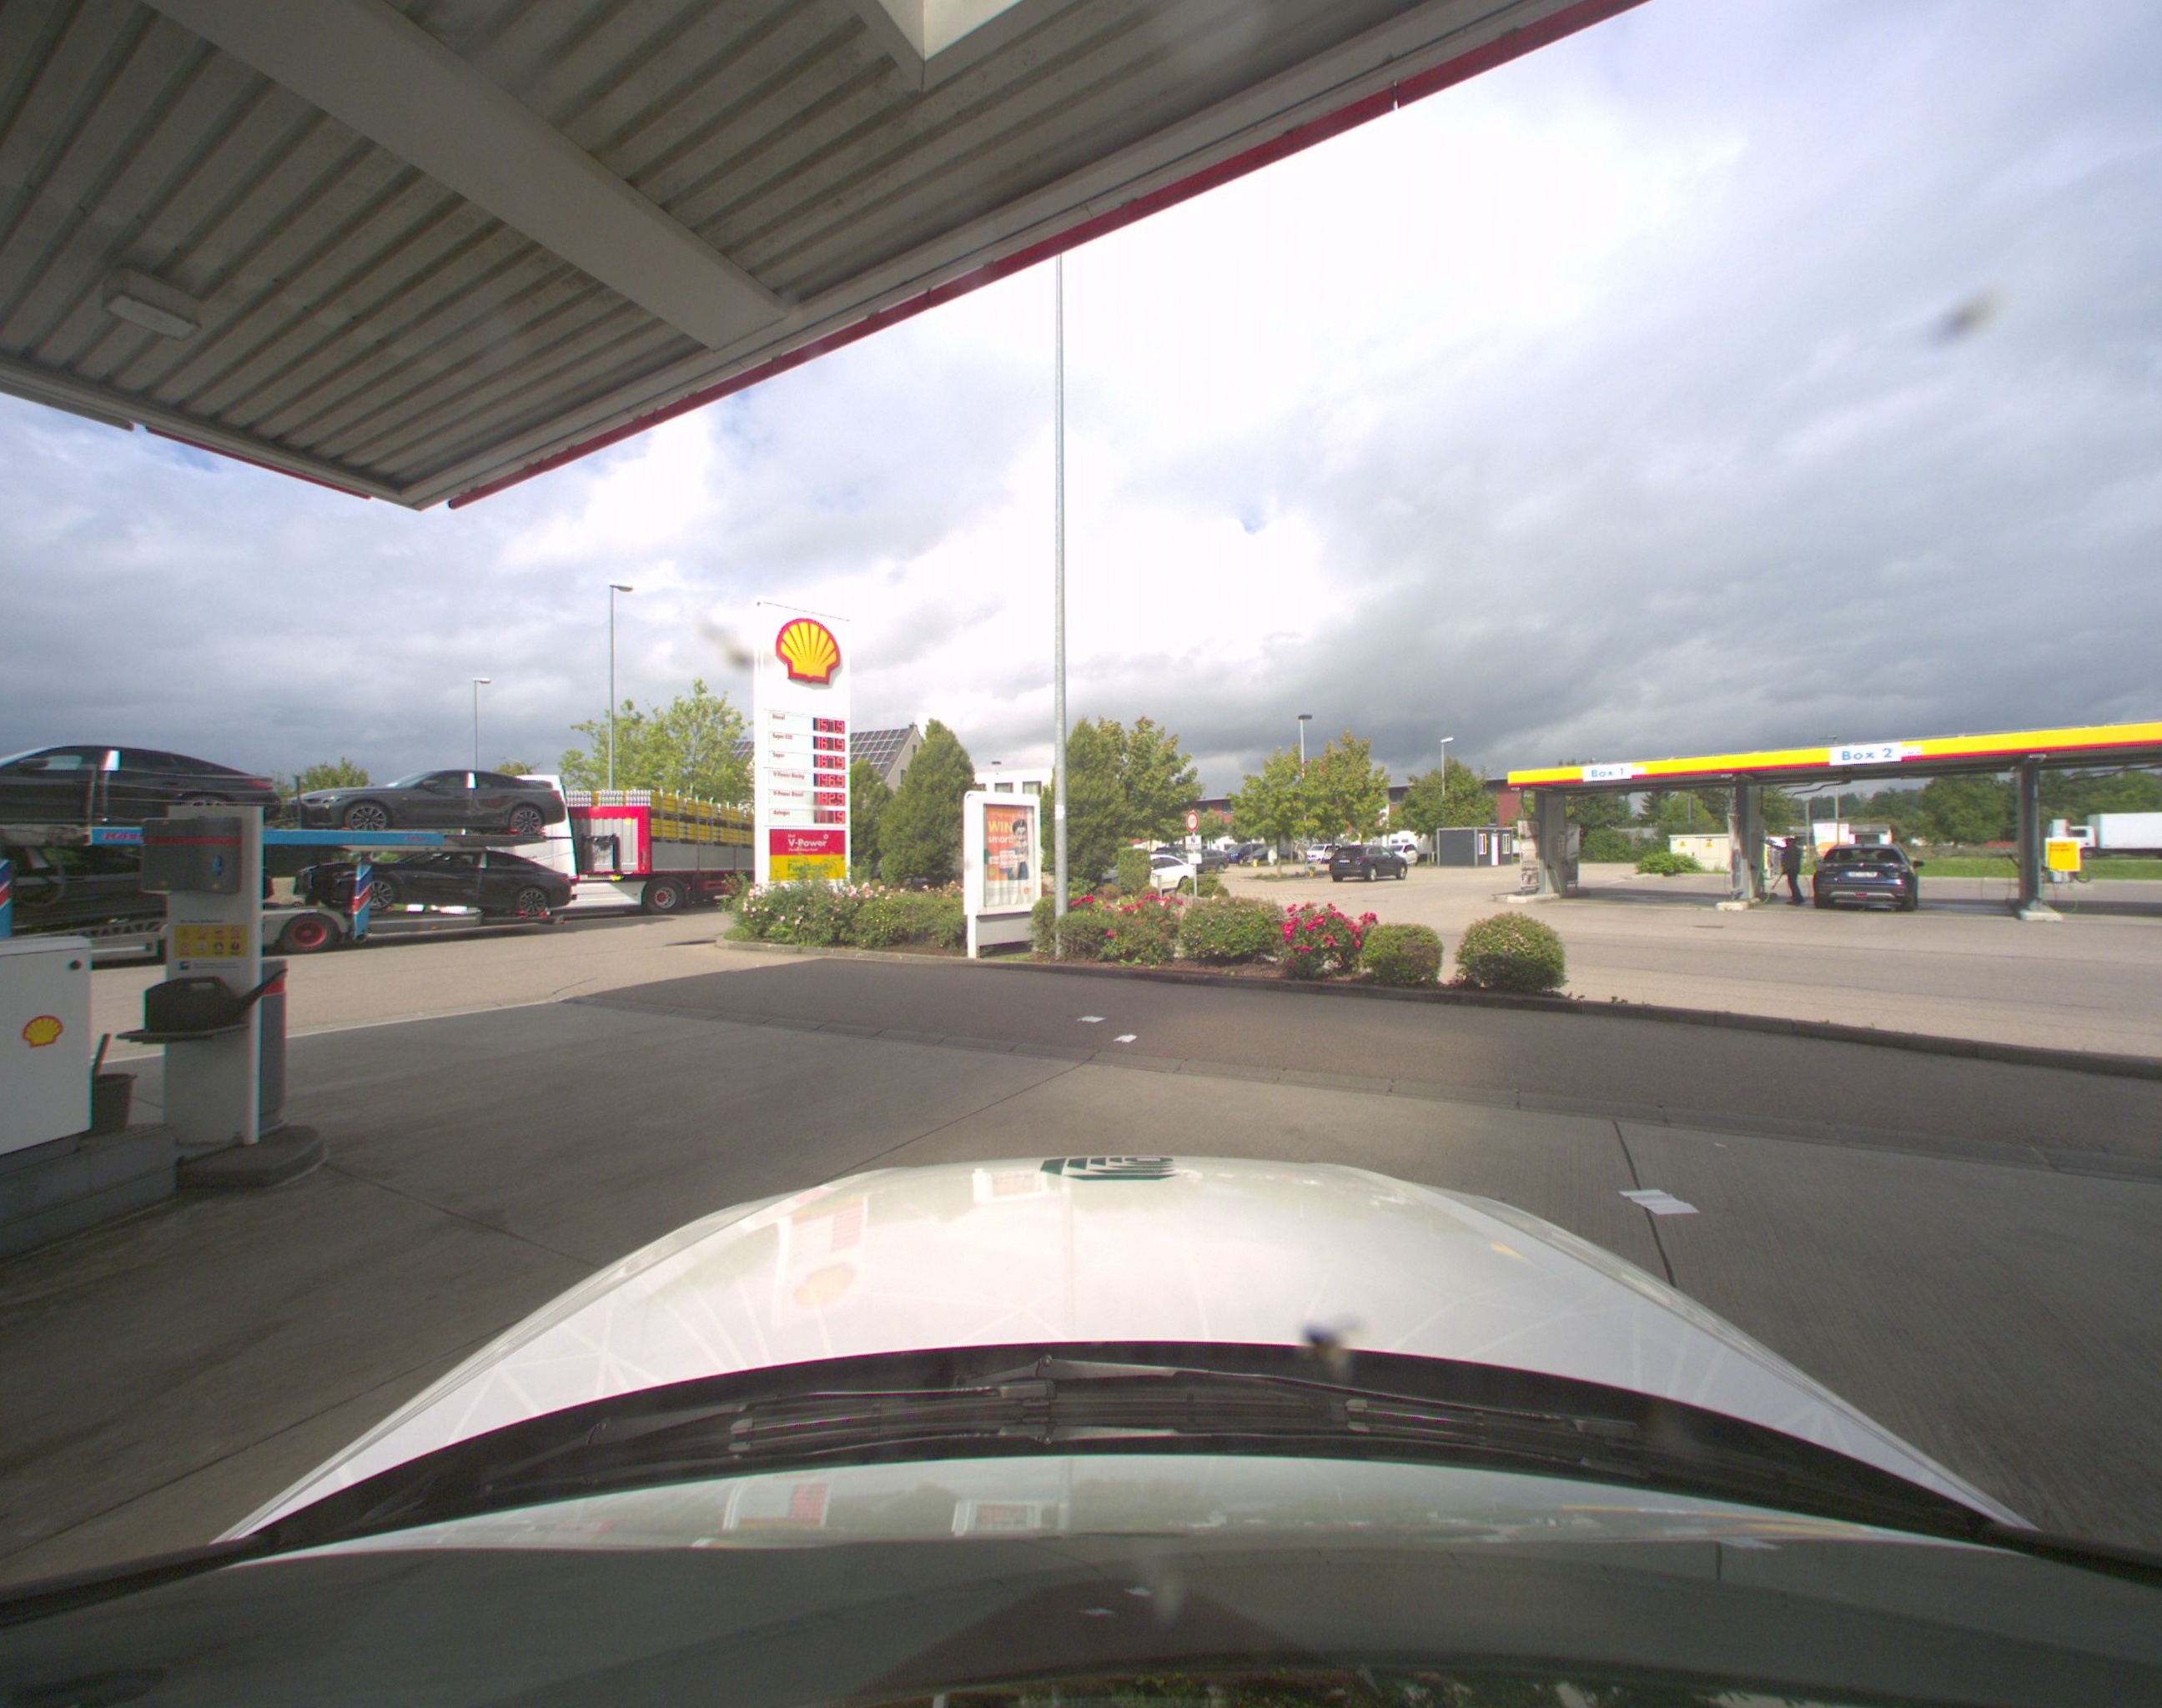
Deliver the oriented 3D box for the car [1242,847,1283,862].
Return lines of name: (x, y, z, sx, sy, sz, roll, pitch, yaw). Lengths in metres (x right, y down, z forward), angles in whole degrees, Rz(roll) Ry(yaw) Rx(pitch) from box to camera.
car: (14.491, 0.030, 64.876, 3.437, 1.179, 1.468, 0, -1, -42)

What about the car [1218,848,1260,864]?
car: (12.948, 0.177, 66.660, 3.407, 1.320, 1.726, 0, -1, -42)

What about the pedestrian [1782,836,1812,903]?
pedestrian: (18.574, 0.403, 21.140, 0.551, 1.722, 0.531, -1, -1, 40)

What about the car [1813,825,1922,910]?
car: (19.436, 0.311, 20.075, 3.828, 1.897, 1.703, 0, -1, -43)

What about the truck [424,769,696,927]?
truck: (-14.414, -0.127, 22.856, 2.707, 3.846, 5.954, -1, -1, 43)

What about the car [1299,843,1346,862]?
car: (23.872, -0.130, 80.269, 4.903, 1.833, 2.159, 0, -1, -41)

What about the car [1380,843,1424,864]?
car: (20.605, -0.053, 52.216, 3.120, 1.307, 1.352, 0, -1, -42)

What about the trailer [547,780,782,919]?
trailer: (-13.668, -0.085, 28.559, 2.726, 3.776, 12.689, 0, 0, -5)

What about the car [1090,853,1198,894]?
car: (2.392, 0.683, 30.021, 4.368, 1.404, 1.354, 0, -1, -42)

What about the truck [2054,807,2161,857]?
truck: (78.228, -1.581, 60.008, 7.989, 3.534, 2.714, -1, -1, 41)

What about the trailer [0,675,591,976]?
trailer: (-16.437, -0.407, 13.685, 2.711, 4.423, 14.450, -1, -1, 31)

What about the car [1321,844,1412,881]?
car: (12.874, 0.371, 36.580, 4.527, 1.548, 1.864, 0, -1, -41)

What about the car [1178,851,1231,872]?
car: (7.538, 0.446, 49.706, 3.245, 1.228, 1.488, 0, -1, -42)
